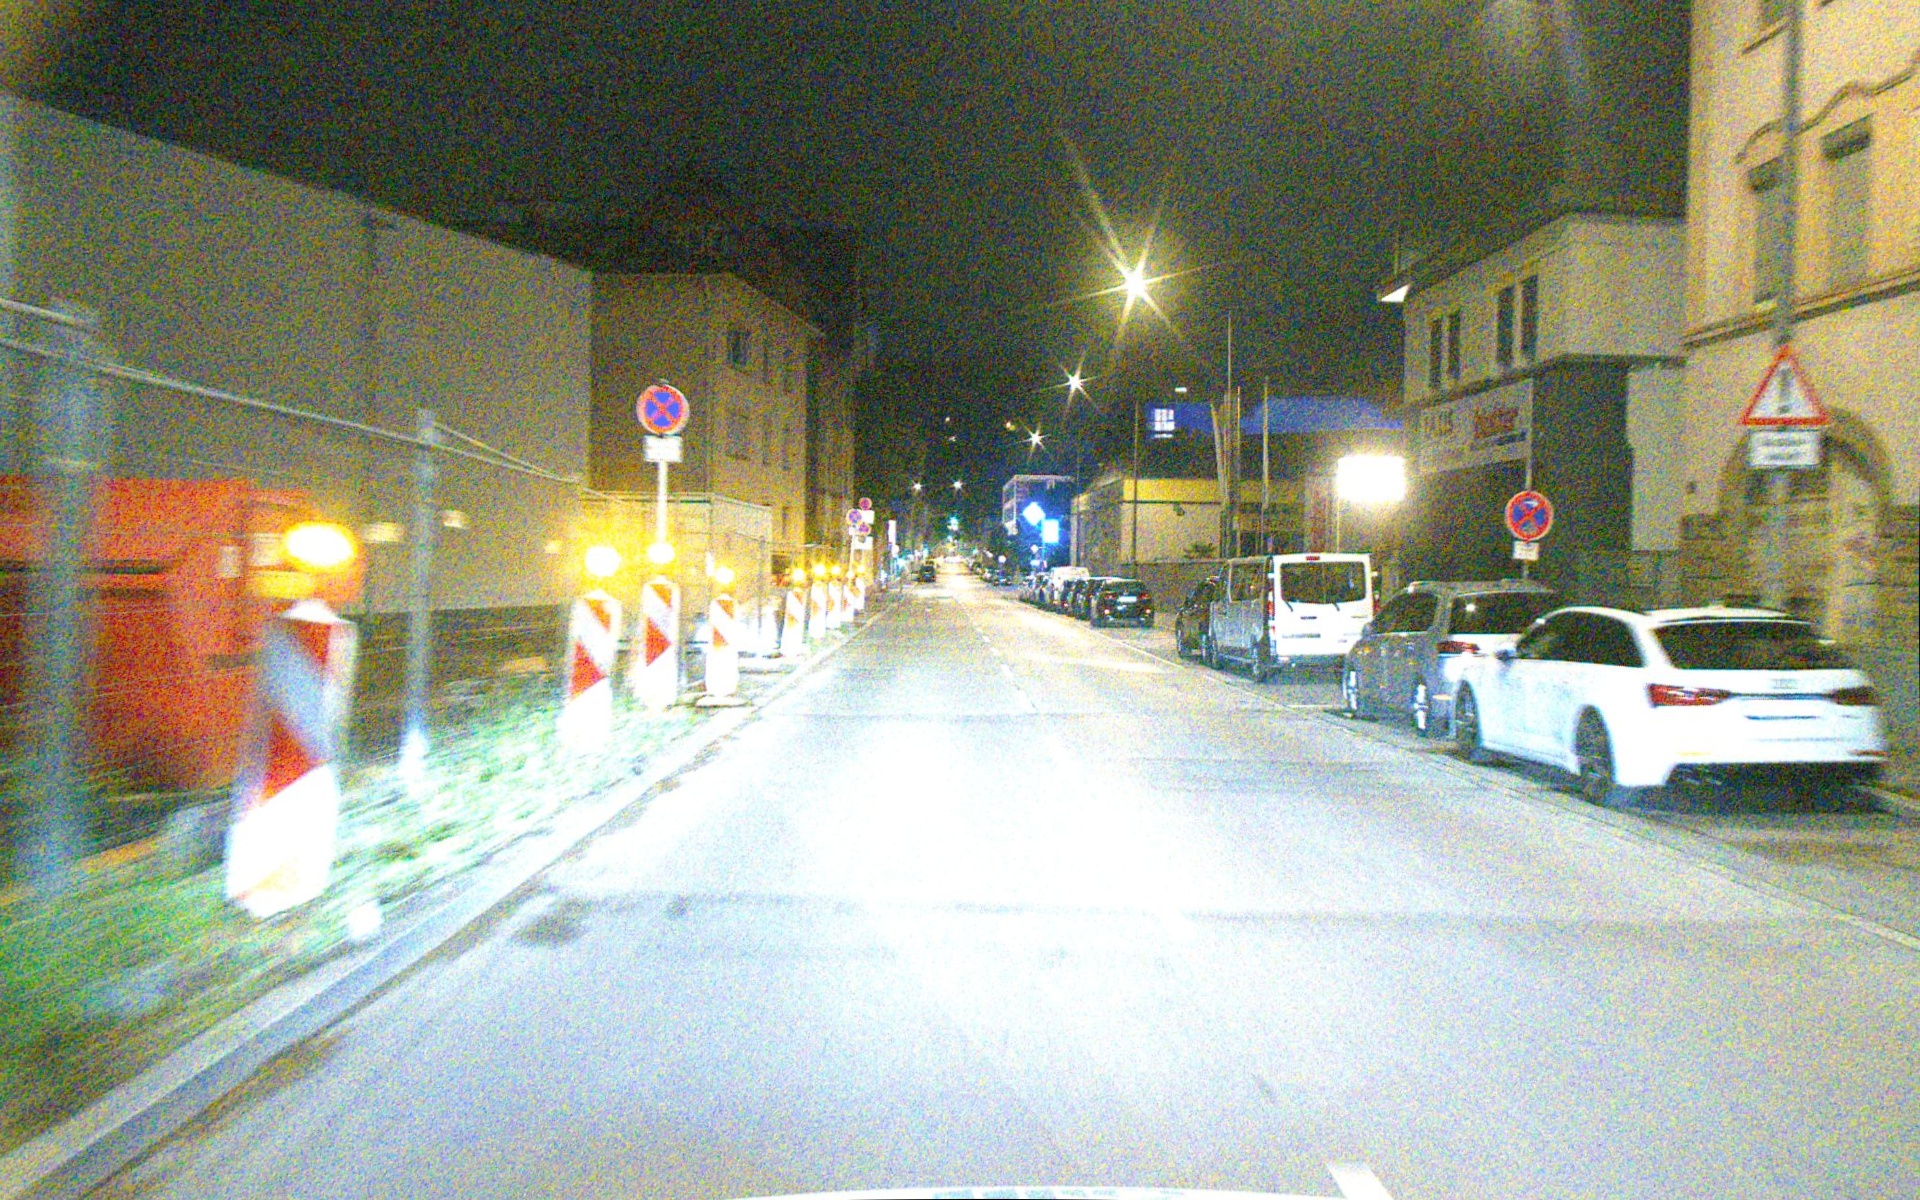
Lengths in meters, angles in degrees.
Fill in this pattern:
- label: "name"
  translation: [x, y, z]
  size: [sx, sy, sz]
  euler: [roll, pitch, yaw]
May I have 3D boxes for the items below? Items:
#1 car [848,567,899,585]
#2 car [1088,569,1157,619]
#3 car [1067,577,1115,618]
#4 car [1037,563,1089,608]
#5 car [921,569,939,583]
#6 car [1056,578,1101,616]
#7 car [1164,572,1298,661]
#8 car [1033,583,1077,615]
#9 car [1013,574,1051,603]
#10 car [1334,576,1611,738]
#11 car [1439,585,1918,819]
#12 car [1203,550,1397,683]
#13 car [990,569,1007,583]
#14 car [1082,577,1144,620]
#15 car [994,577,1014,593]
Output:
- label: "car"
  translation: [-7.577, -2.102, 144.411]
  size: [4.349, 1.475, 2.000]
  euler: [1, 0, -1]
- label: "car"
  translation: [5.064, -0.197, 52.019]
  size: [1.742, 1.451, 4.481]
  euler: [1, 0, 0]
- label: "car"
  translation: [5.041, -0.119, 64.086]
  size: [1.562, 1.492, 3.719]
  euler: [1, 0, 0]
- label: "car"
  translation: [4.596, -0.688, 74.354]
  size: [1.764, 1.907, 4.771]
  euler: [-1, 1, -3]
- label: "car"
  translation: [-3.371, -2.668, 187.534]
  size: [1.953, 1.528, 4.000]
  euler: [1, 0, -1]
- label: "car"
  translation: [4.883, -0.125, 68.711]
  size: [1.562, 1.492, 3.892]
  euler: [1, 0, 0]
- label: "car"
  translation: [5.369, 0.288, 33.288]
  size: [1.783, 1.627, 4.218]
  euler: [-2, 1, -3]
- label: "car"
  translation: [4.534, -0.068, 79.264]
  size: [1.779, 1.452, 4.188]
  euler: [-1, 1, -1]
- label: "car"
  translation: [4.106, -0.665, 94.981]
  size: [1.739, 1.571, 4.544]
  euler: [1, 0, -3]
- label: "car"
  translation: [5.588, 0.548, 18.589]
  size: [1.708, 1.593, 4.209]
  euler: [-1, 0, -1]
- label: "car"
  translation: [5.515, 0.660, 13.494]
  size: [1.708, 1.535, 4.832]
  euler: [-1, 1, -1]
- label: "car"
  translation: [5.508, 0.223, 27.545]
  size: [2.030, 1.962, 5.370]
  euler: [-1, 1, -1]
- label: "car"
  translation: [4.438, -2.787, 193.033]
  size: [1.952, 1.546, 4.001]
  euler: [1, 0, 1]
- label: "car"
  translation: [5.413, -0.063, 58.932]
  size: [1.743, 1.451, 3.891]
  euler: [1, 0, -1]
- label: "car"
  translation: [4.507, -1.580, 169.222]
  size: [1.952, 1.542, 4.001]
  euler: [2, 1, 1]
